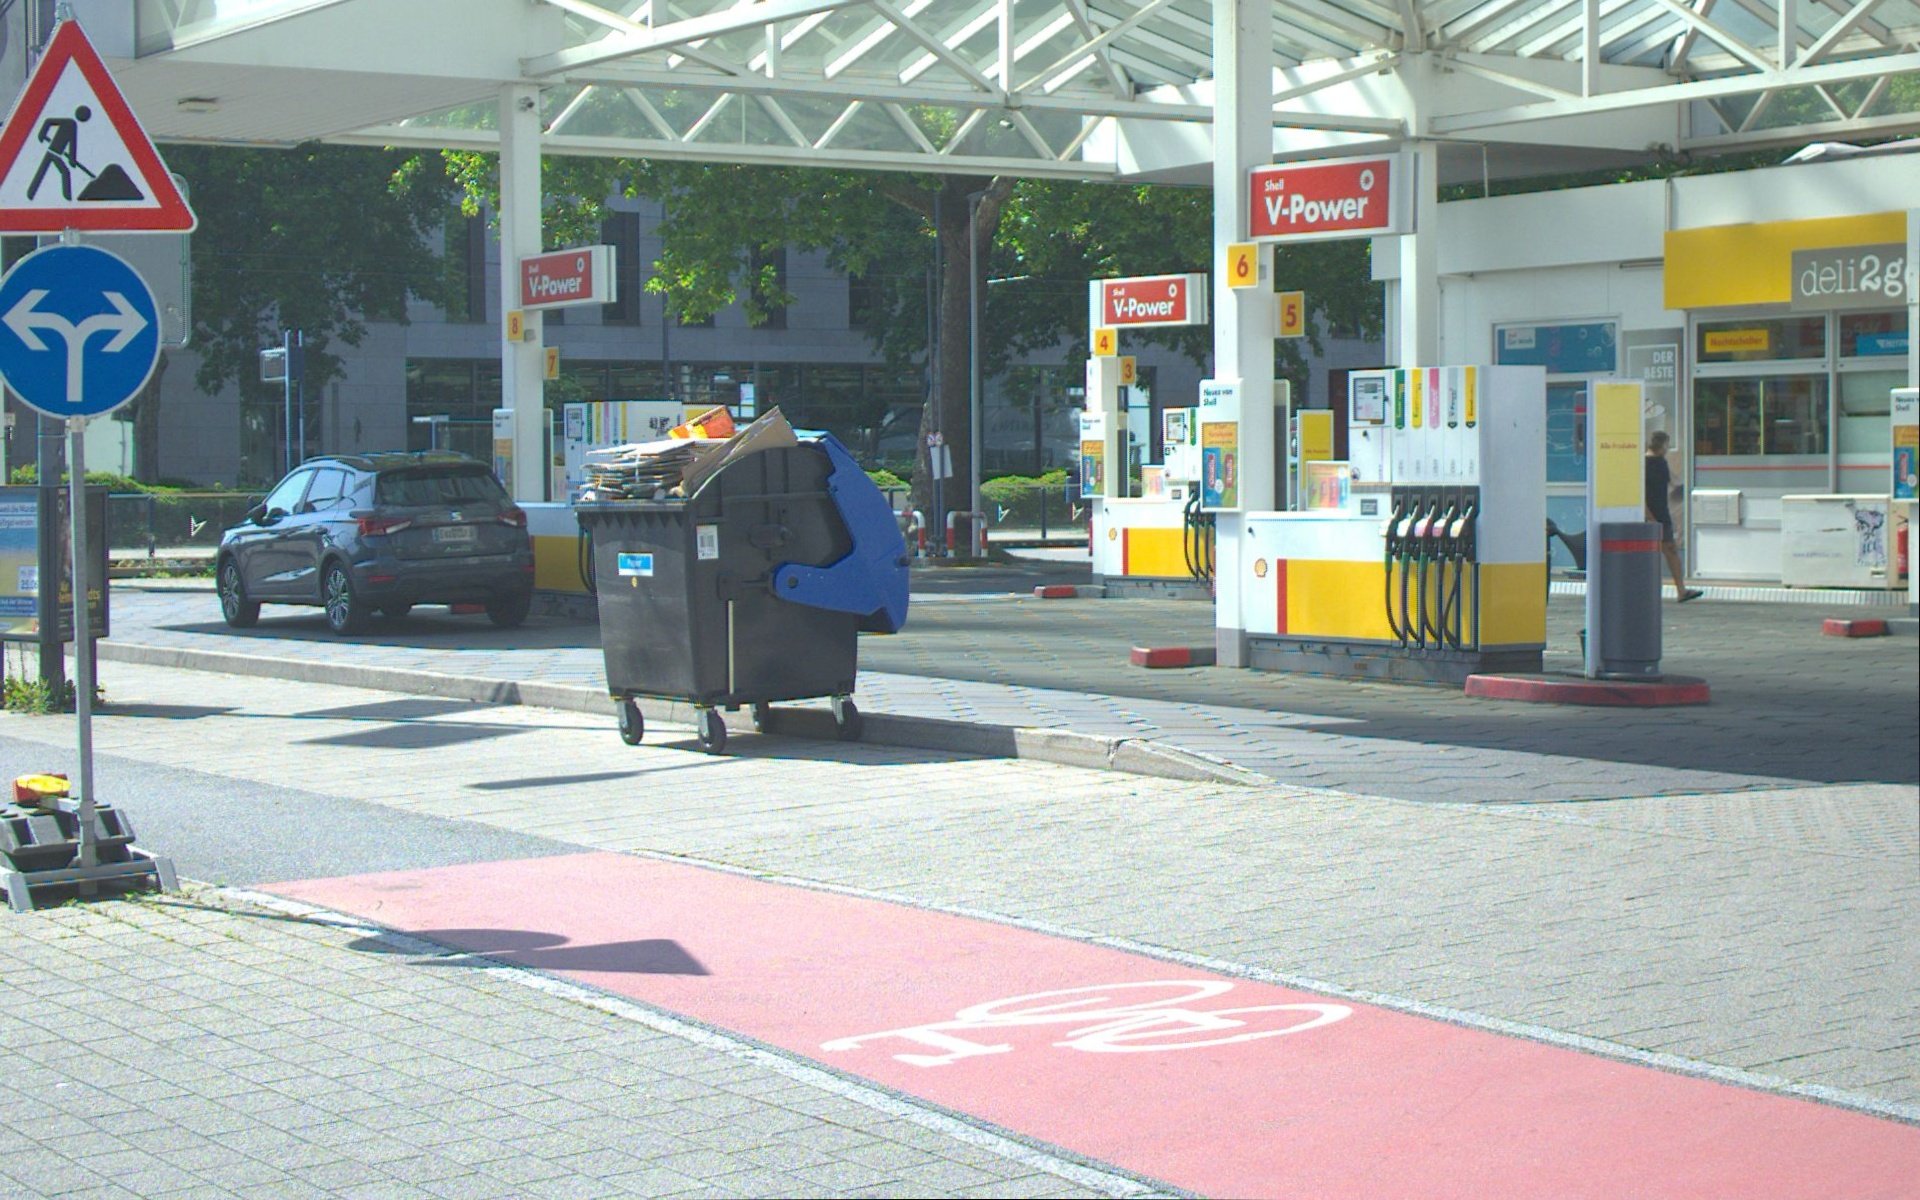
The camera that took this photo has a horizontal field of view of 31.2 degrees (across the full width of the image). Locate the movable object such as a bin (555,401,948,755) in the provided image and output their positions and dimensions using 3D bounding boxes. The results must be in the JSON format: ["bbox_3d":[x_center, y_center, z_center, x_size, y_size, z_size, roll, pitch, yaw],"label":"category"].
[{"bbox_3d":[-1.023,-0.138,16.738,1.308,1.586,1.395,-5,4,-35],"label":"movable object such as a bin"}]

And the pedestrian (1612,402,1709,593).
[{"bbox_3d":[6.764,-0.990,33.202,0.673,1.815,0.631,-1,2,-26],"label":"pedestrian"}]

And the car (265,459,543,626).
[{"bbox_3d":[-5.009,-0.540,30.634,1.649,1.393,3.643,-1,2,-22],"label":"car"}]
